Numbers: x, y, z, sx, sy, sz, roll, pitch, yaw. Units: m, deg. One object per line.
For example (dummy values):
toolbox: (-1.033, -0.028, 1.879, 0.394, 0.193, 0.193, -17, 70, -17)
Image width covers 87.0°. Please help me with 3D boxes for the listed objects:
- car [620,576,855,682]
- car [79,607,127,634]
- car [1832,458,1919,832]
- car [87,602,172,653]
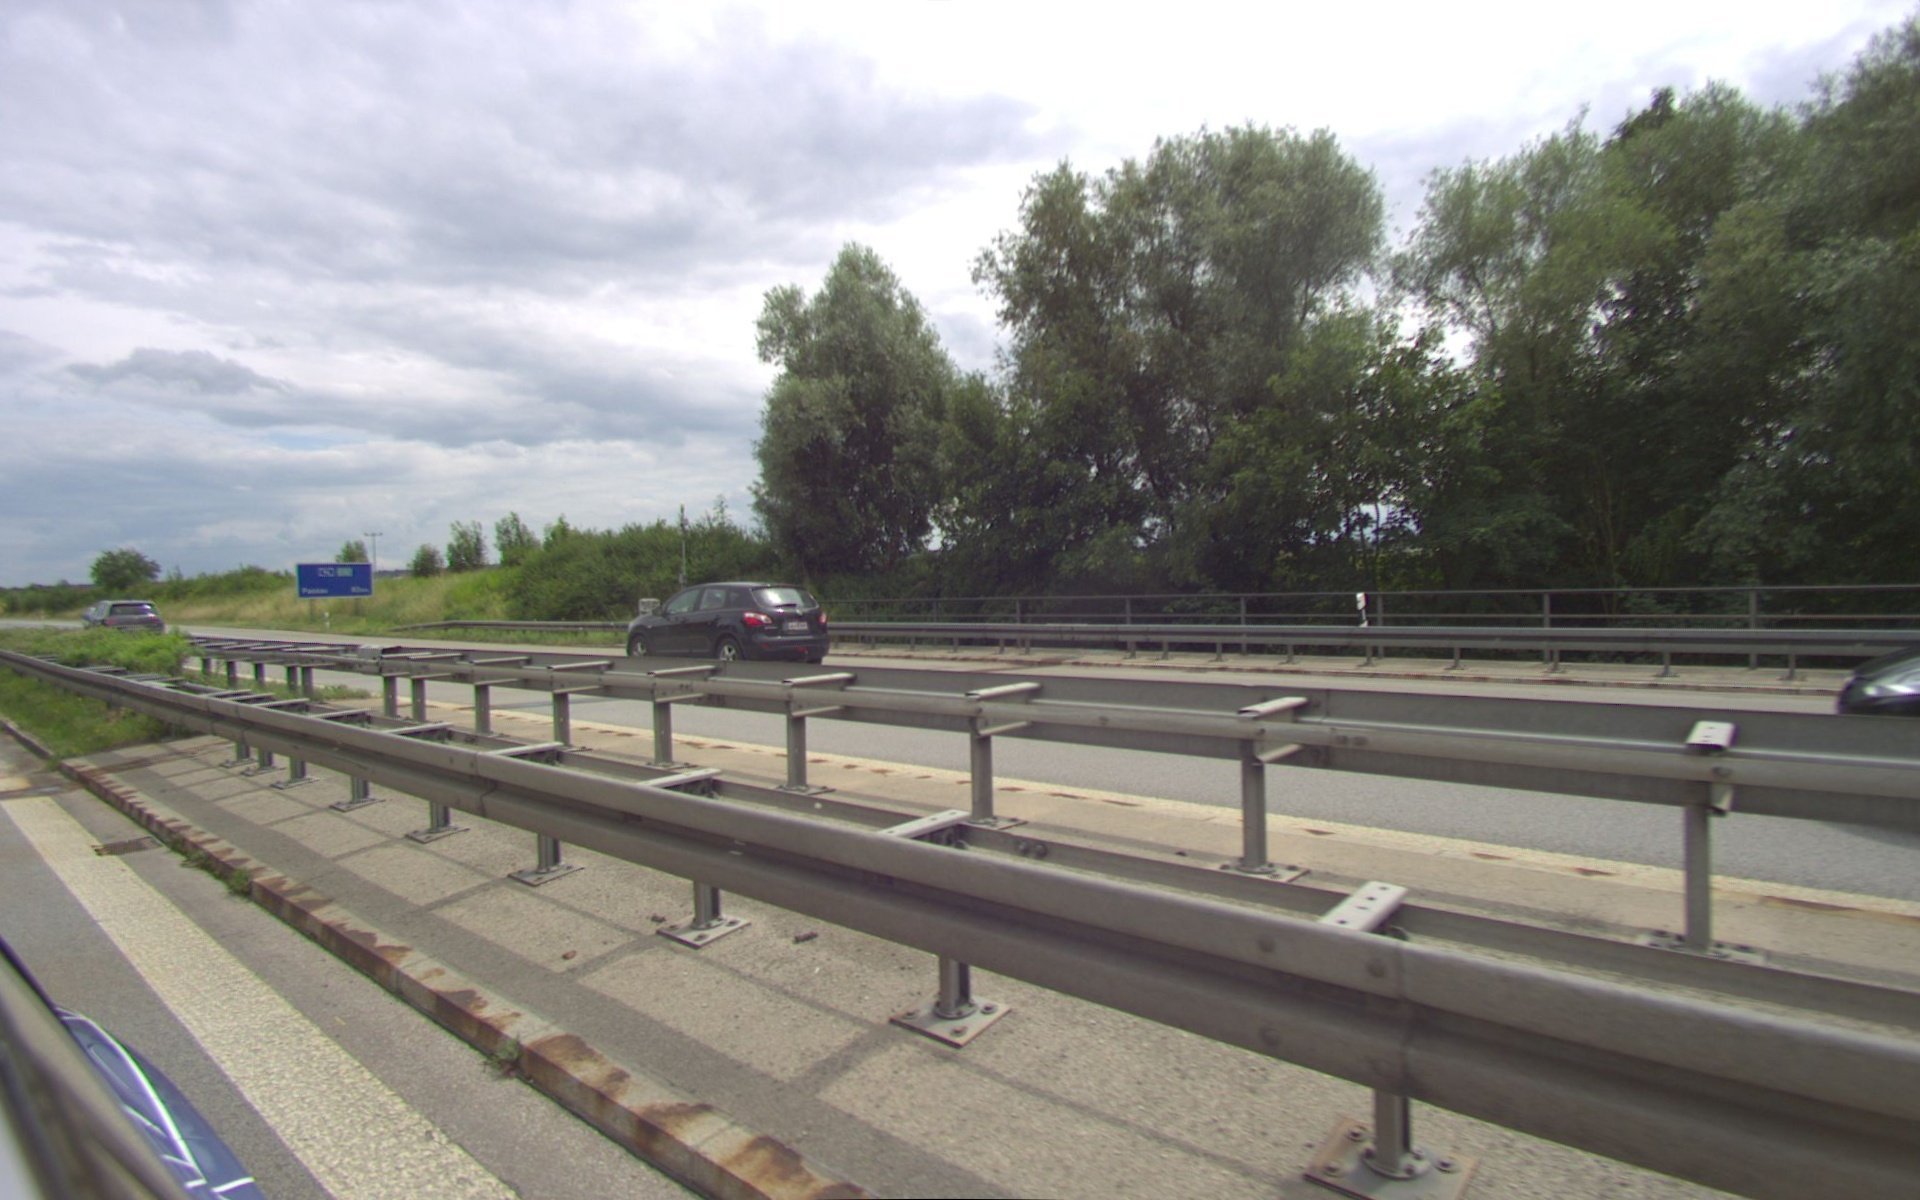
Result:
car: (-3.866, 0.444, 17.152, 4.331, 1.571, 1.710, -1, 0, 42)
car: (-52.232, 1.212, 61.644, 4.282, 1.503, 1.633, -1, 3, 42)
car: (6.404, 0.148, 3.621, 4.944, 1.624, 1.826, -1, 1, 41)
car: (-29.323, 0.931, 35.692, 4.222, 1.663, 1.707, -1, 1, 43)
